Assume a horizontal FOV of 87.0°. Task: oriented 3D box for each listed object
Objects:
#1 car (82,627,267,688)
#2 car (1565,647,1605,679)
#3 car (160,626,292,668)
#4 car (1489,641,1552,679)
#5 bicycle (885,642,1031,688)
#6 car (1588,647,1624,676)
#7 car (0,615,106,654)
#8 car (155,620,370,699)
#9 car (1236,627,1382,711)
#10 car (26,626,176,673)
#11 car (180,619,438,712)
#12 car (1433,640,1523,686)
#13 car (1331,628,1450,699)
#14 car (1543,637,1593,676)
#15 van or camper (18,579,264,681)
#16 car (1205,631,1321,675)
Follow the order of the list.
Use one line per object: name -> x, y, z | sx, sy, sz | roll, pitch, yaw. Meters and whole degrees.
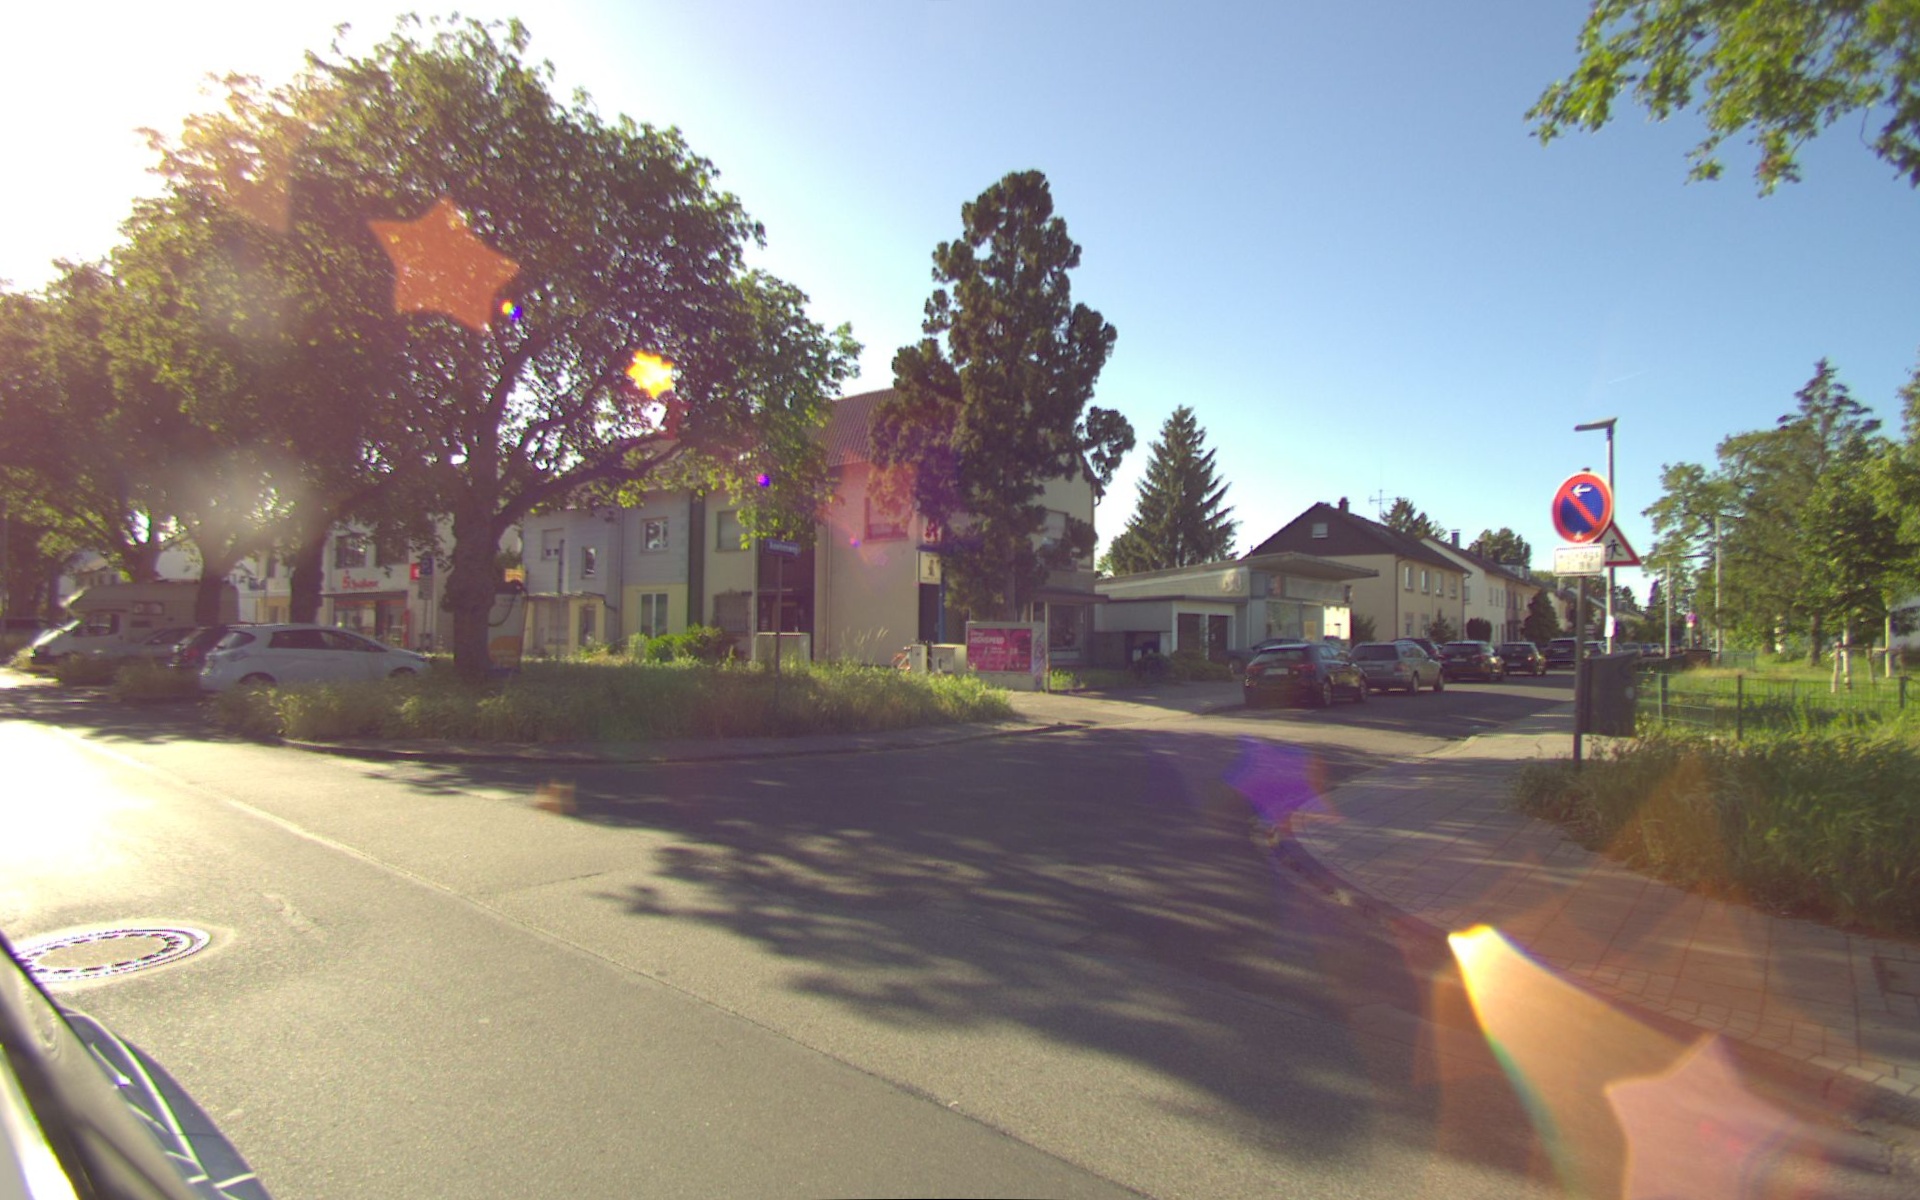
car -> -23.084, 1.639, 29.848 | 1.998, 1.469, 3.948 | -1, 1, 39
car -> 42.847, 4.302, 69.392 | 1.996, 2.029, 3.950 | -1, -2, 37
car -> -29.609, 1.853, 40.902 | 1.866, 1.554, 3.952 | -1, -1, 36
car -> 24.541, 2.591, 44.258 | 1.818, 1.551, 3.818 | -1, -3, 39
bicycle -> -0.093, 1.727, 27.276 | 4.033, 1.185, 0.700 | -1, -3, 25
car -> 48.602, 4.574, 76.088 | 1.996, 2.029, 3.950 | -1, -3, 37
car -> -45.793, 1.685, 50.107 | 1.997, 1.741, 5.015 | -1, 1, 37
car -> -17.047, 1.373, 24.858 | 1.998, 1.601, 3.947 | -1, 1, 40
car -> 7.981, 1.479, 22.964 | 1.821, 1.727, 3.945 | -1, -2, 41
car -> -30.540, 1.714, 36.036 | 1.640, 1.460, 3.942 | 0, 0, 44
car -> -12.981, 1.231, 20.358 | 1.965, 1.673, 3.946 | -1, -2, 40
car -> 18.739, 2.219, 36.549 | 1.999, 1.551, 3.945 | -1, -3, 41
car -> 12.137, 1.714, 28.422 | 1.999, 1.834, 3.945 | -1, -2, 41
car -> 35.223, 3.226, 58.595 | 1.997, 1.962, 3.949 | -1, 1, 38
van or camper -> -25.387, 0.817, 31.595 | 2.000, 2.826, 5.713 | -1, 1, 43
car -> 11.193, 1.936, 37.518 | 3.754, 1.530, 1.781 | -1, -2, 38
